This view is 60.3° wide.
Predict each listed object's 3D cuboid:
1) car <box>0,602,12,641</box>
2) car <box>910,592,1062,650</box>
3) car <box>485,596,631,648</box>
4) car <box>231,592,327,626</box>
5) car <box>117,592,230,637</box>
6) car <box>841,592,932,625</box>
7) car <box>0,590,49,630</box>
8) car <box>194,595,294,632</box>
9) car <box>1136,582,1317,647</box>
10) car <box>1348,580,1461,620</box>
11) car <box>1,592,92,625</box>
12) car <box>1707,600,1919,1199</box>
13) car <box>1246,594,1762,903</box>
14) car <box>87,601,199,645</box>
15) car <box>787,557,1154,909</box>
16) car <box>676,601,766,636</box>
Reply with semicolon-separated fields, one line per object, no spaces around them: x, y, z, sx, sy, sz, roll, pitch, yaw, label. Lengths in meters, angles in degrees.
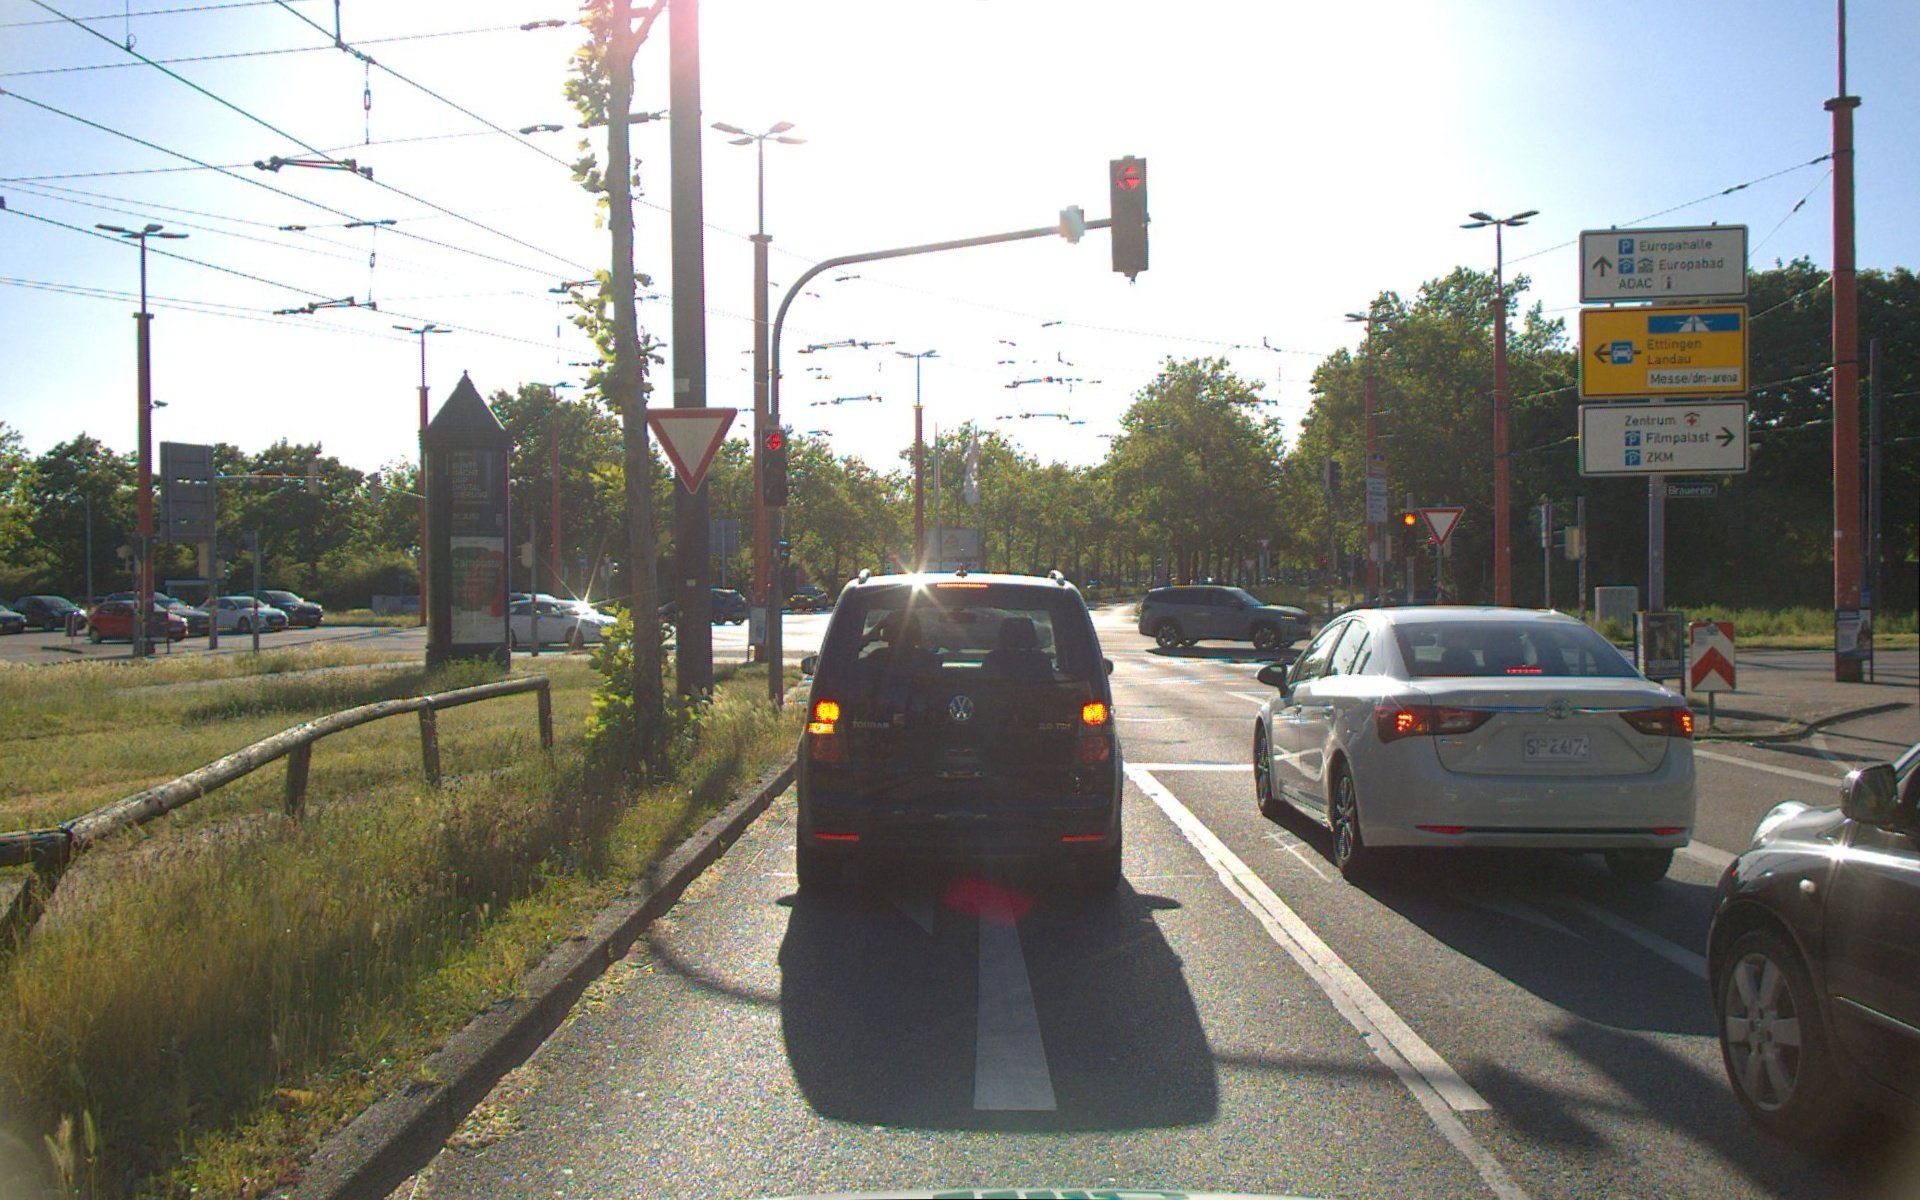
-39.996;0.841;66.284;4.107;1.546;1.654;0;0;30;car
0.685;0.539;44.301;3.755;1.466;1.655;0;0;27;car
-12.493;0.650;51.280;4.536;1.546;1.653;0;0;30;car
-29.474;0.372;71.545;4.060;1.440;1.542;0;0;26;car
-31.190;0.550;65.549;4.541;1.676;1.753;0;0;30;car
-3.382;0.384;76.013;3.837;1.483;1.655;0;0;26;car
-41.698;0.392;71.448;4.535;1.676;1.755;0;0;24;car
-29.411;0.531;67.923;4.060;1.440;1.542;0;0;26;car
7.173;0.352;44.682;4.541;1.676;1.654;0;0;30;car
17.468;-0.019;64.998;4.055;1.537;1.654;0;0;28;car
-40.878;0.367;73.990;4.060;1.440;1.542;0;0;26;car
3.132;0.743;3.485;1.544;1.465;3.441;1;0;0;car
3.011;0.730;10.182;1.762;1.465;4.326;1;0;0;car
-29.754;0.813;60.236;4.107;1.546;1.654;0;0;30;car
0.063;0.636;9.960;1.703;1.630;4.326;1;0;0;car
-10.793;0.828;74.763;3.715;1.537;1.656;0;0;23;car
